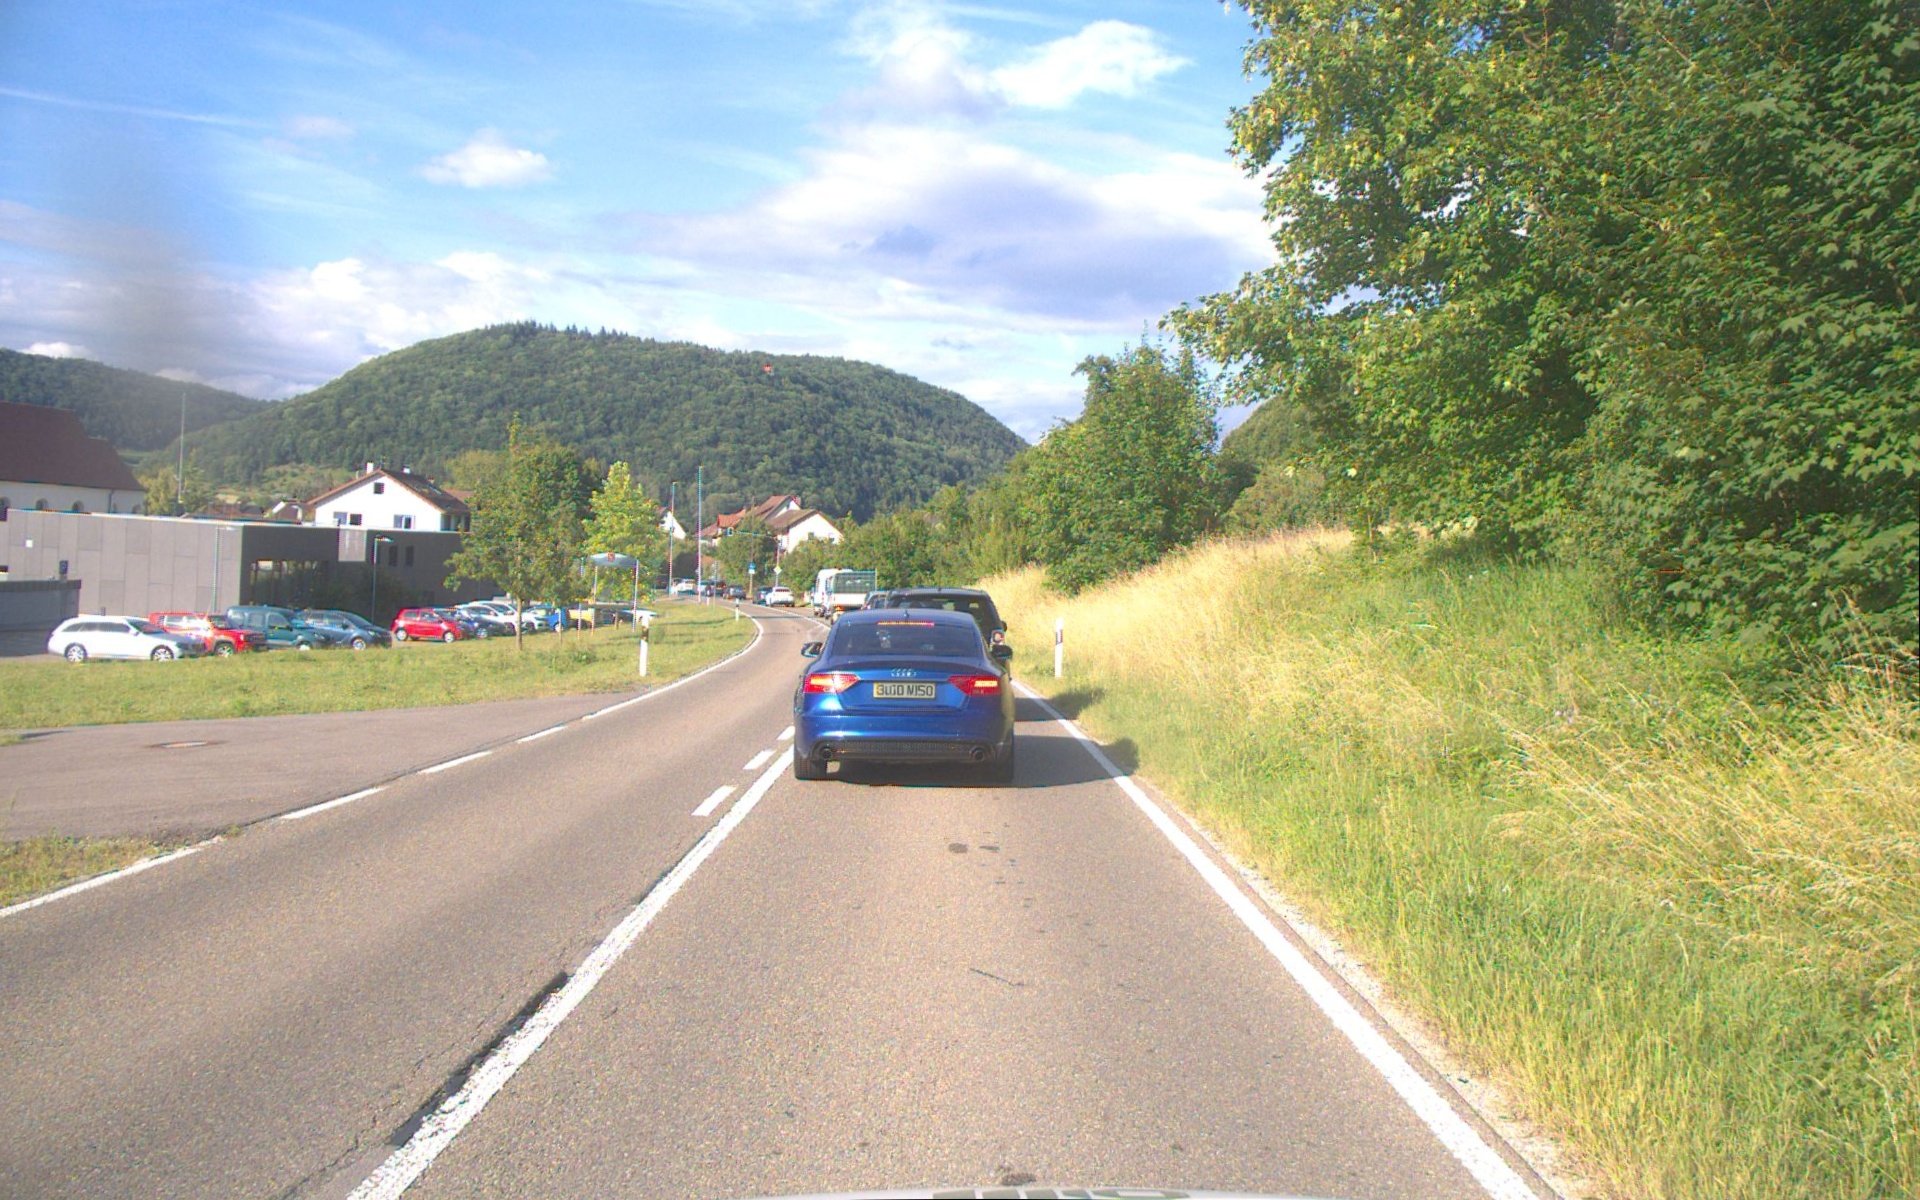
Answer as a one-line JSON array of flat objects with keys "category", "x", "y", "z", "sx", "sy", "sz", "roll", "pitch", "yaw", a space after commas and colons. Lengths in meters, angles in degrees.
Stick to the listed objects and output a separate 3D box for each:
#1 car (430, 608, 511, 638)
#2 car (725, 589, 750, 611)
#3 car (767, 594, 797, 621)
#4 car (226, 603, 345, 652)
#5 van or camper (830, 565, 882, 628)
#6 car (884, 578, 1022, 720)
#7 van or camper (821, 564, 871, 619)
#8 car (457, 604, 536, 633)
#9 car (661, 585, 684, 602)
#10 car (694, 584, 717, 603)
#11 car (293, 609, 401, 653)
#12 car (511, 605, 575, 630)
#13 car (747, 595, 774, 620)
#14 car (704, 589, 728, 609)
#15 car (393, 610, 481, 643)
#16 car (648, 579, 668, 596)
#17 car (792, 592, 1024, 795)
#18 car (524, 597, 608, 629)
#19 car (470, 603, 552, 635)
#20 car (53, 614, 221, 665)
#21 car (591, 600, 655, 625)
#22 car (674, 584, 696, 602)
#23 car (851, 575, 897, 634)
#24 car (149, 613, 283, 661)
[{"category": "car", "x": -24.450, "y": 1.149, "z": 82.700, "sx": 3.548, "sy": 1.430, "sz": 1.597, "roll": 0, "pitch": -3, "yaw": 5}, {"category": "car", "x": -20.502, "y": 0.031, "z": 151.998, "sx": 1.633, "sy": 1.958, "sz": 3.980, "roll": 0, "pitch": 0, "yaw": -17}, {"category": "car", "x": -13.212, "y": 0.559, "z": 122.531, "sx": 1.632, "sy": 1.958, "sz": 3.984, "roll": 0, "pitch": 0, "yaw": -15}, {"category": "car", "x": -25.568, "y": 1.029, "z": 62.767, "sx": 3.781, "sy": 1.752, "sz": 1.756, "roll": 1, "pitch": 0, "yaw": 2}, {"category": "van or camper", "x": -4.482, "y": -0.152, "z": 70.705, "sx": 2.012, "sy": 2.549, "sz": 5.804, "roll": 0, "pitch": 0, "yaw": -6}, {"category": "car", "x": -0.156, "y": 0.585, "z": 21.509, "sx": 1.613, "sy": 1.653, "sz": 3.515, "roll": 2, "pitch": 0, "yaw": -3}, {"category": "van or camper", "x": -6.039, "y": -0.433, "z": 86.919, "sx": 2.238, "sy": 2.761, "sz": 5.757, "roll": 2, "pitch": 0, "yaw": -7}, {"category": "car", "x": -24.042, "y": 0.971, "z": 85.856, "sx": 3.589, "sy": 1.520, "sz": 1.597, "roll": 0, "pitch": -1, "yaw": 5}, {"category": "car", "x": -32.889, "y": -0.747, "z": 189.058, "sx": 1.926, "sy": 1.958, "sz": 3.977, "roll": 0, "pitch": 0, "yaw": -20}, {"category": "car", "x": -26.633, "y": -0.673, "z": 172.933, "sx": 1.652, "sy": 1.958, "sz": 3.977, "roll": 0, "pitch": 0, "yaw": -20}, {"category": "car", "x": -25.000, "y": 1.257, "z": 67.493, "sx": 3.738, "sy": 1.752, "sz": 1.733, "roll": 0, "pitch": 0, "yaw": 4}, {"category": "car", "x": -23.954, "y": 1.020, "z": 95.127, "sx": 3.302, "sy": 1.397, "sz": 1.659, "roll": -1, "pitch": 0, "yaw": -3}, {"category": "car", "x": -16.013, "y": 0.563, "z": 132.869, "sx": 1.632, "sy": 1.958, "sz": 3.985, "roll": 0, "pitch": 0, "yaw": -14}, {"category": "car", "x": -24.247, "y": -0.126, "z": 164.336, "sx": 1.651, "sy": 1.958, "sz": 3.978, "roll": 0, "pitch": 0, "yaw": -19}, {"category": "car", "x": -24.535, "y": 1.243, "z": 77.609, "sx": 3.548, "sy": 1.469, "sz": 1.649, "roll": -1, "pitch": 0, "yaw": 5}, {"category": "car", "x": -35.951, "y": -1.498, "z": 196.950, "sx": 1.652, "sy": 1.958, "sz": 3.977, "roll": 0, "pitch": 0, "yaw": -20}, {"category": "car", "x": -0.376, "y": 0.705, "z": 14.208, "sx": 1.707, "sy": 1.476, "sz": 3.517, "roll": 2, "pitch": 0, "yaw": 0}, {"category": "car", "x": -23.296, "y": 0.786, "z": 97.834, "sx": 4.457, "sy": 1.846, "sz": 1.842, "roll": -1, "pitch": 0, "yaw": 5}, {"category": "car", "x": -24.215, "y": 0.999, "z": 89.266, "sx": 3.991, "sy": 1.702, "sz": 1.597, "roll": 0, "pitch": 0, "yaw": 5}, {"category": "car", "x": -26.990, "y": 1.274, "z": 54.313, "sx": 4.543, "sy": 1.616, "sz": 2.001, "roll": 0, "pitch": 0, "yaw": 4}, {"category": "car", "x": -22.901, "y": 0.844, "z": 112.341, "sx": 3.950, "sy": 1.689, "sz": 1.657, "roll": -1, "pitch": 0, "yaw": 5}, {"category": "car", "x": -30.151, "y": -0.726, "z": 181.150, "sx": 1.652, "sy": 1.958, "sz": 3.977, "roll": 0, "pitch": 0, "yaw": -20}, {"category": "car", "x": -3.111, "y": 0.147, "z": 59.289, "sx": 1.536, "sy": 2.049, "sz": 3.996, "roll": 0, "pitch": 0, "yaw": -5}, {"category": "car", "x": -25.711, "y": 1.270, "z": 57.188, "sx": 3.837, "sy": 1.606, "sz": 1.756, "roll": 0, "pitch": 0, "yaw": 4}]
